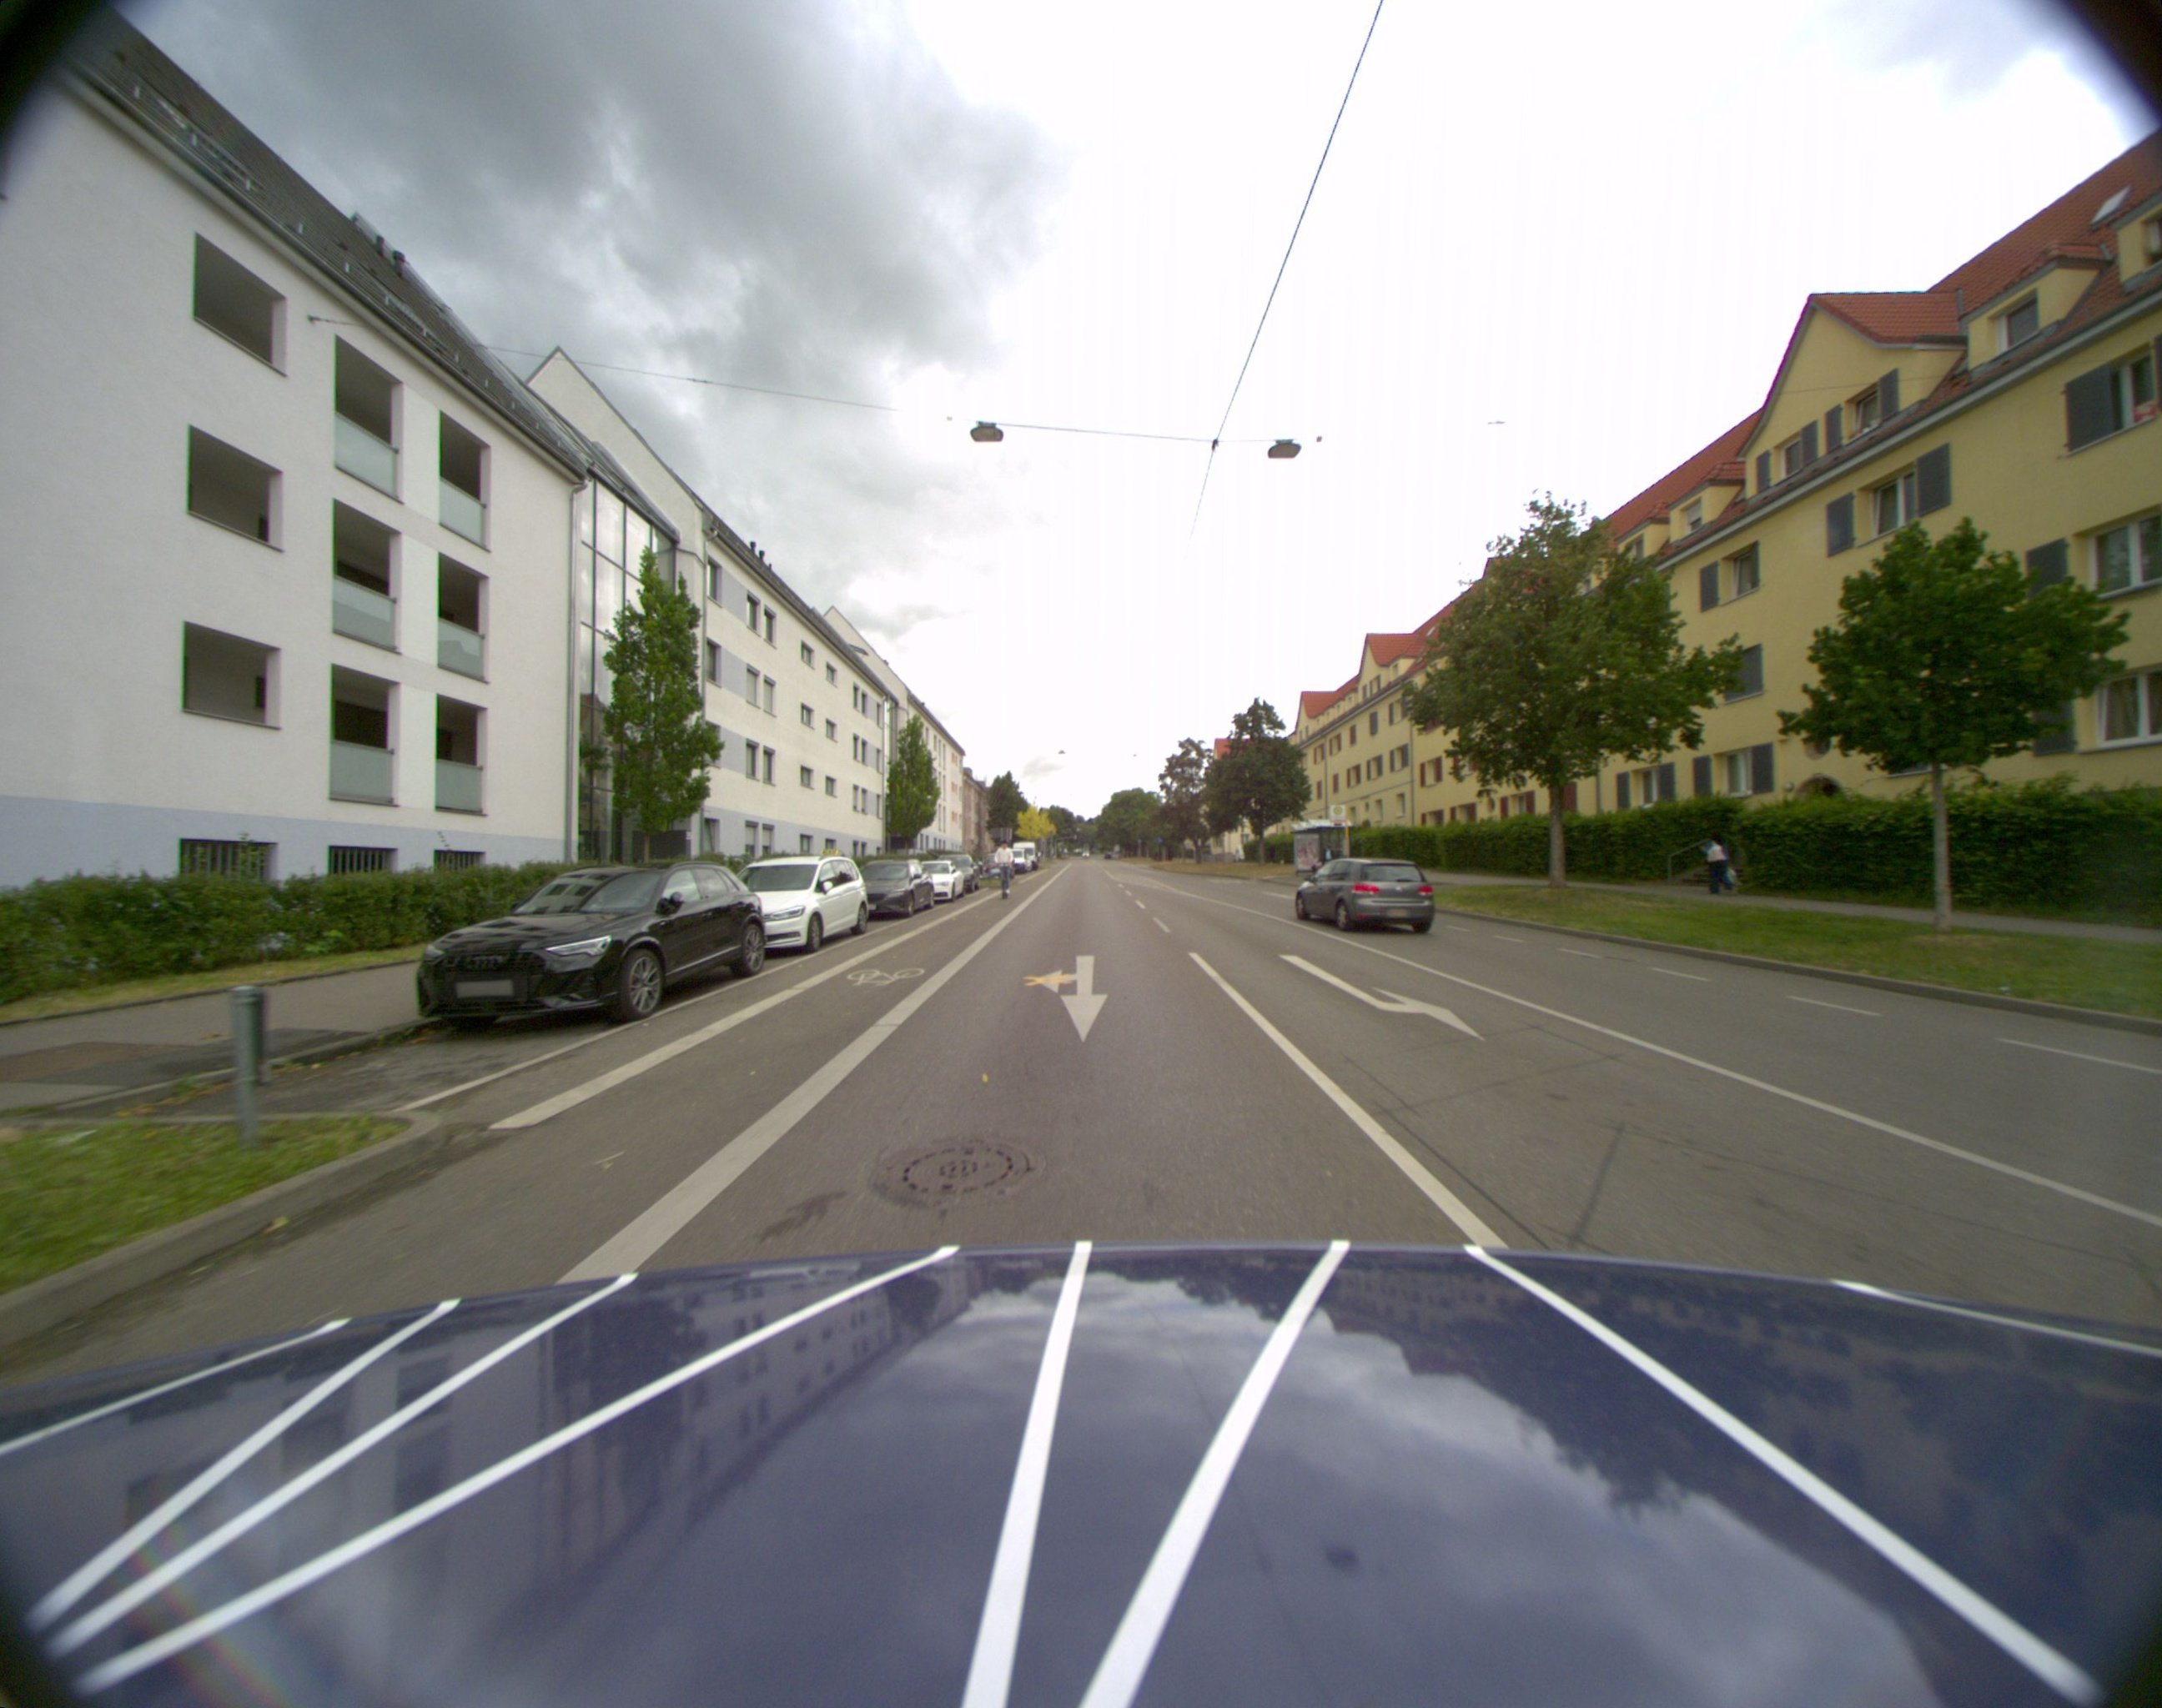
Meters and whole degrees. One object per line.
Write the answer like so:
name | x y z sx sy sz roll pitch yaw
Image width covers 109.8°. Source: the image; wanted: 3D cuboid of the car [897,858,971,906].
car | -4.954 0.901 26.224 1.734 1.405 4.499 -2 0 -1

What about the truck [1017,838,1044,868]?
truck | -4.458 -0.117 67.754 2.058 2.550 5.689 -1 0 -1

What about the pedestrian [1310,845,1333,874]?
pedestrian | 12.648 0.275 39.954 0.901 1.465 0.806 -2 1 1

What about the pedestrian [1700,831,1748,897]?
pedestrian | 15.931 0.250 18.833 0.642 1.610 0.618 -1 1 -1

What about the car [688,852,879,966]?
car | -5.199 0.847 14.008 1.663 1.706 4.551 -2 0 0

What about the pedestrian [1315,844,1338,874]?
pedestrian | 12.515 0.248 38.714 0.901 1.501 0.806 -2 1 1

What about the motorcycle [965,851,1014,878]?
motorcycle | -4.934 0.571 41.151 2.605 1.372 0.692 -1 1 -4

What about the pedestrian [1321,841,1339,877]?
pedestrian | 11.884 0.233 36.286 0.598 1.717 0.861 -1 1 3

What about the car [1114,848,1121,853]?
car | 10.479 -0.991 220.555 1.860 1.596 4.000 -1 0 1

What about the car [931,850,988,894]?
car | -5.004 0.707 31.782 1.636 1.641 4.356 -2 0 0

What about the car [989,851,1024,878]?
car | -4.397 0.584 45.184 1.685 1.535 4.338 -1 0 -1

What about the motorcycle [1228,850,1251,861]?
motorcycle | 19.704 0.193 94.198 2.598 1.271 1.019 1 1 33

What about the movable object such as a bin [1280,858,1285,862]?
movable object such as a bin | 16.618 0.513 62.630 0.307 0.345 0.581 -1 0 6

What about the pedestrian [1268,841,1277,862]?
pedestrian | 15.817 -0.212 62.790 0.515 1.769 0.753 -1 1 0

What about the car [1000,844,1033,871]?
car | -4.792 0.253 56.885 1.999 1.932 5.211 -1 0 0

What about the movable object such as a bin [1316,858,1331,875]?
movable object such as a bin | 12.375 0.650 38.732 0.538 0.841 0.665 -2 0 1

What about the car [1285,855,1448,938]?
car | 5.899 0.806 16.303 1.761 1.464 4.305 2 0 -1

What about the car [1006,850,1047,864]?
car | -6.311 0.316 88.678 4.352 1.610 1.908 0 1 17

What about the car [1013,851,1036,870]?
car | -4.591 0.505 62.064 1.529 1.477 3.726 -2 0 0

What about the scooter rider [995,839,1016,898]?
scooter rider | -2.596 0.494 26.174 0.627 2.002 0.757 -1 1 -1

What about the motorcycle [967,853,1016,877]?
motorcycle | -4.949 0.617 42.026 2.605 1.271 0.753 -1 1 -4

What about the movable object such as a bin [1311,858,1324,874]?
movable object such as a bin | 12.468 0.631 39.984 0.465 0.821 0.665 -2 0 1

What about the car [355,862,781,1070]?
car | -5.213 0.964 8.684 1.739 1.579 4.571 -2 1 -1

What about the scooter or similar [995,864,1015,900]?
scooter or similar | -2.611 0.945 26.247 0.492 1.156 2.074 -1 0 0

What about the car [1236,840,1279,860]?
car | 21.052 -0.487 90.834 4.729 2.240 1.995 0 1 1

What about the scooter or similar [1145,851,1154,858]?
scooter or similar | 10.445 0.044 116.083 1.374 1.080 0.466 0 0 -4

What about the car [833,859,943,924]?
car | -5.074 0.912 20.684 1.750 1.459 4.948 -2 0 -1
